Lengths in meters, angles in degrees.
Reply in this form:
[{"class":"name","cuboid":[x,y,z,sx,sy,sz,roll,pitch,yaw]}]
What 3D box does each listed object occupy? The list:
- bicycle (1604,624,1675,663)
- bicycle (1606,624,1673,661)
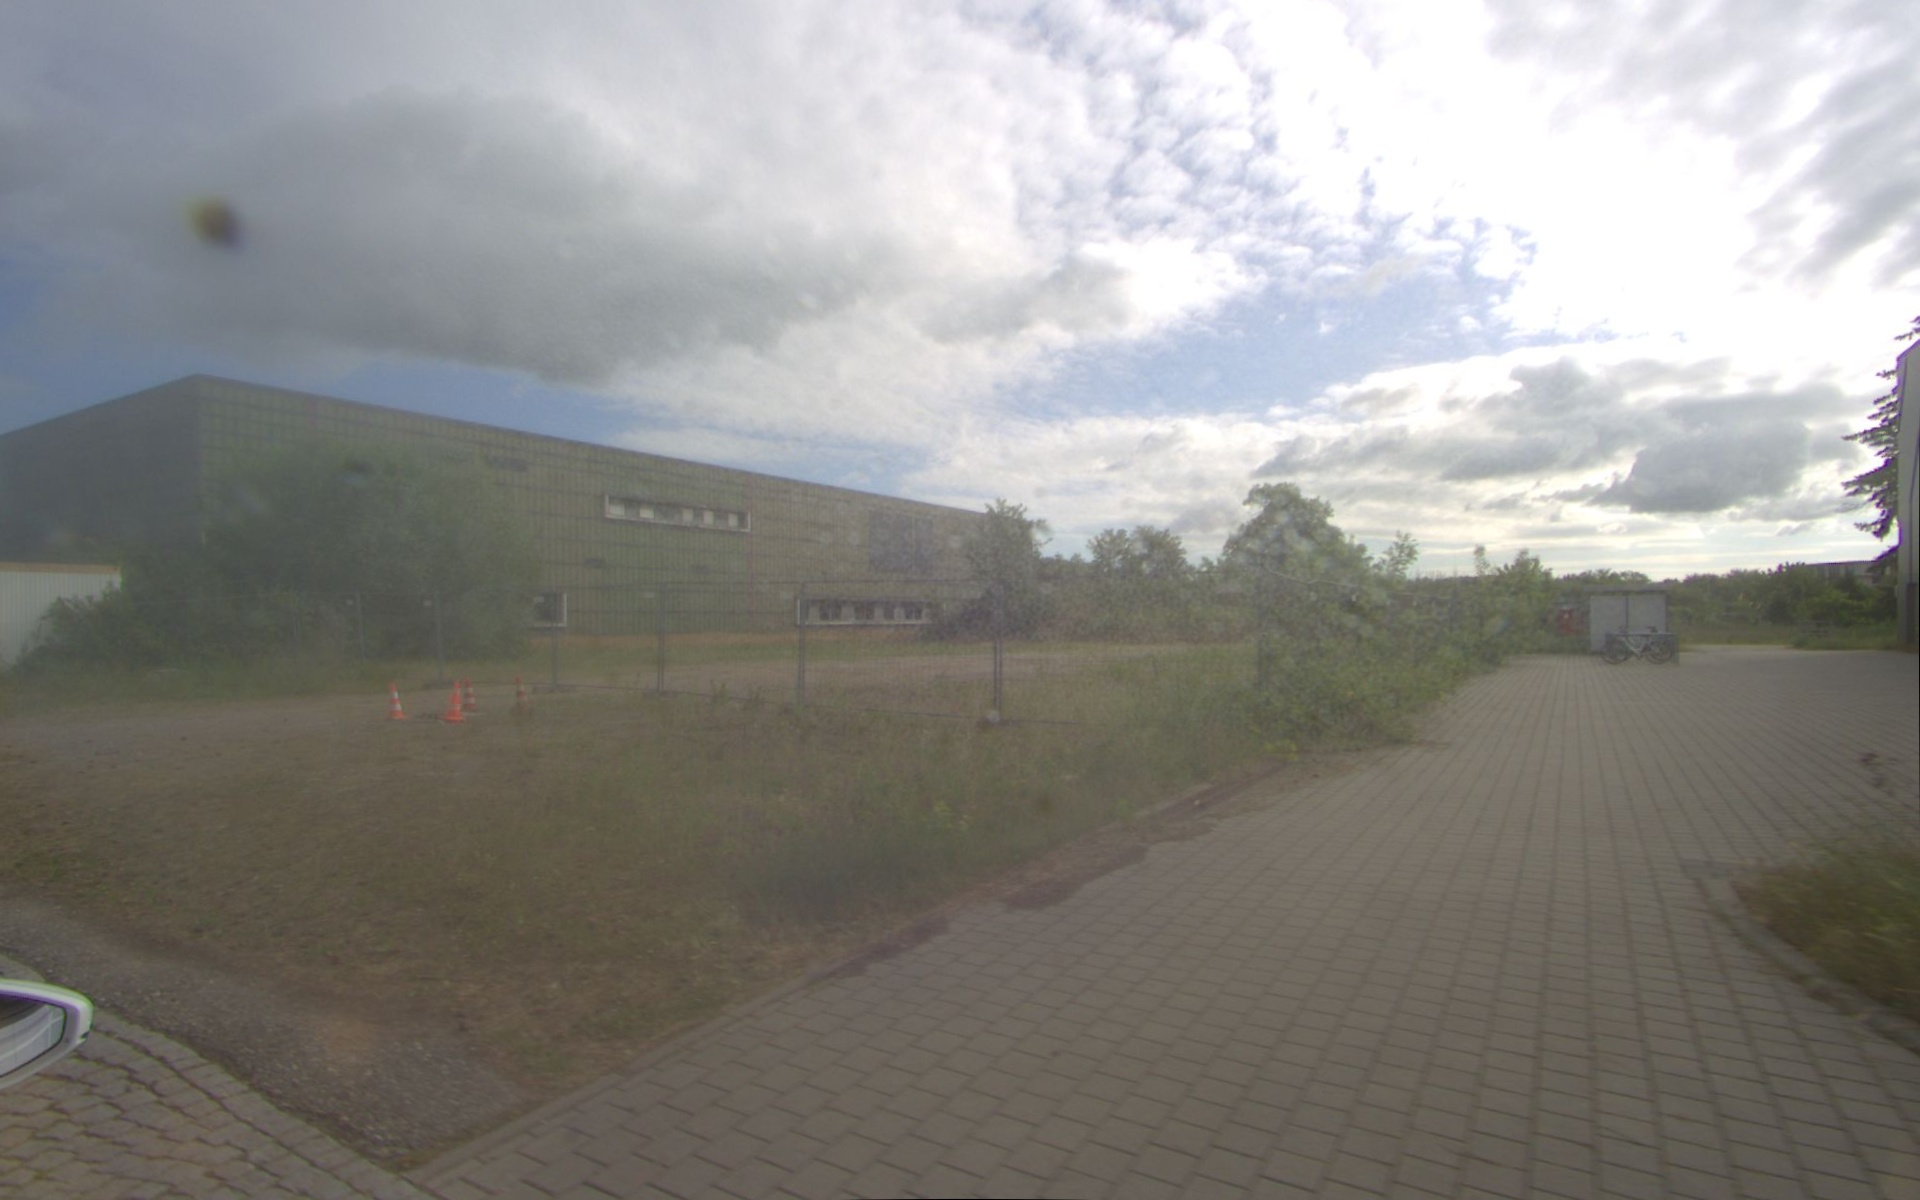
[{"class":"bicycle","cuboid":[19.479,1.230,28.717,1.638,1.099,0.508,-1,-1,42]},{"class":"bicycle","cuboid":[20.747,1.277,30.590,1.638,1.099,0.508,-1,-1,42]}]
